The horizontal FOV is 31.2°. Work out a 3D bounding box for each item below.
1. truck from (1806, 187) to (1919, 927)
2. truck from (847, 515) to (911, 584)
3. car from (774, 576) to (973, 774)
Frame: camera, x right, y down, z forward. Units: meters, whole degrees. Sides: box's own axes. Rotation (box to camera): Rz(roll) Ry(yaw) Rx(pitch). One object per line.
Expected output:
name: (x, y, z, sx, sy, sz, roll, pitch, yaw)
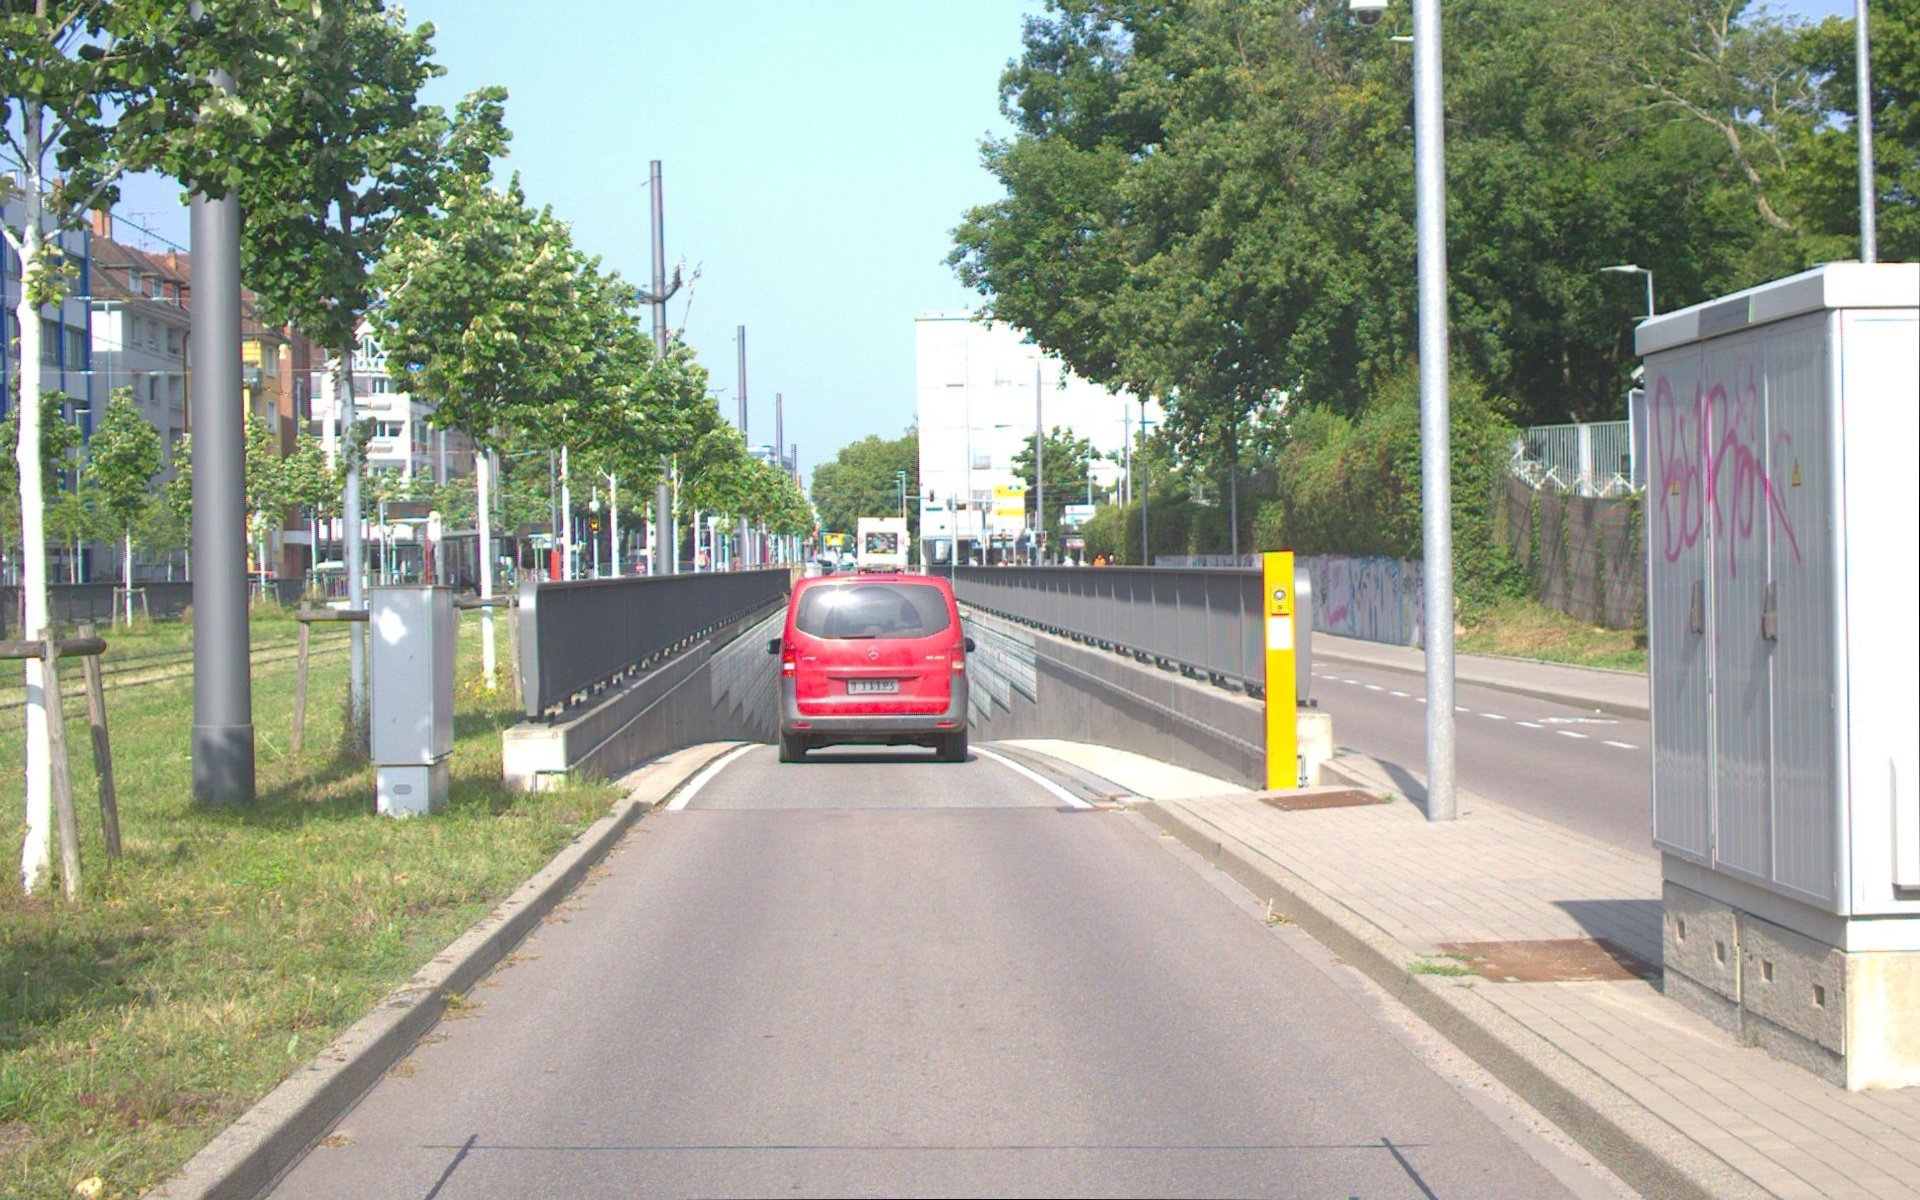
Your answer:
truck: (5.282, -0.152, 11.892, 2.502, 3.050, 7.821, 1, 0, -2)
truck: (-4.641, -2.871, 194.855, 3.390, 3.713, 10.452, -1, 1, -2)
car: (-0.831, 0.712, 35.160, 1.901, 1.853, 4.000, 1, 1, 0)
